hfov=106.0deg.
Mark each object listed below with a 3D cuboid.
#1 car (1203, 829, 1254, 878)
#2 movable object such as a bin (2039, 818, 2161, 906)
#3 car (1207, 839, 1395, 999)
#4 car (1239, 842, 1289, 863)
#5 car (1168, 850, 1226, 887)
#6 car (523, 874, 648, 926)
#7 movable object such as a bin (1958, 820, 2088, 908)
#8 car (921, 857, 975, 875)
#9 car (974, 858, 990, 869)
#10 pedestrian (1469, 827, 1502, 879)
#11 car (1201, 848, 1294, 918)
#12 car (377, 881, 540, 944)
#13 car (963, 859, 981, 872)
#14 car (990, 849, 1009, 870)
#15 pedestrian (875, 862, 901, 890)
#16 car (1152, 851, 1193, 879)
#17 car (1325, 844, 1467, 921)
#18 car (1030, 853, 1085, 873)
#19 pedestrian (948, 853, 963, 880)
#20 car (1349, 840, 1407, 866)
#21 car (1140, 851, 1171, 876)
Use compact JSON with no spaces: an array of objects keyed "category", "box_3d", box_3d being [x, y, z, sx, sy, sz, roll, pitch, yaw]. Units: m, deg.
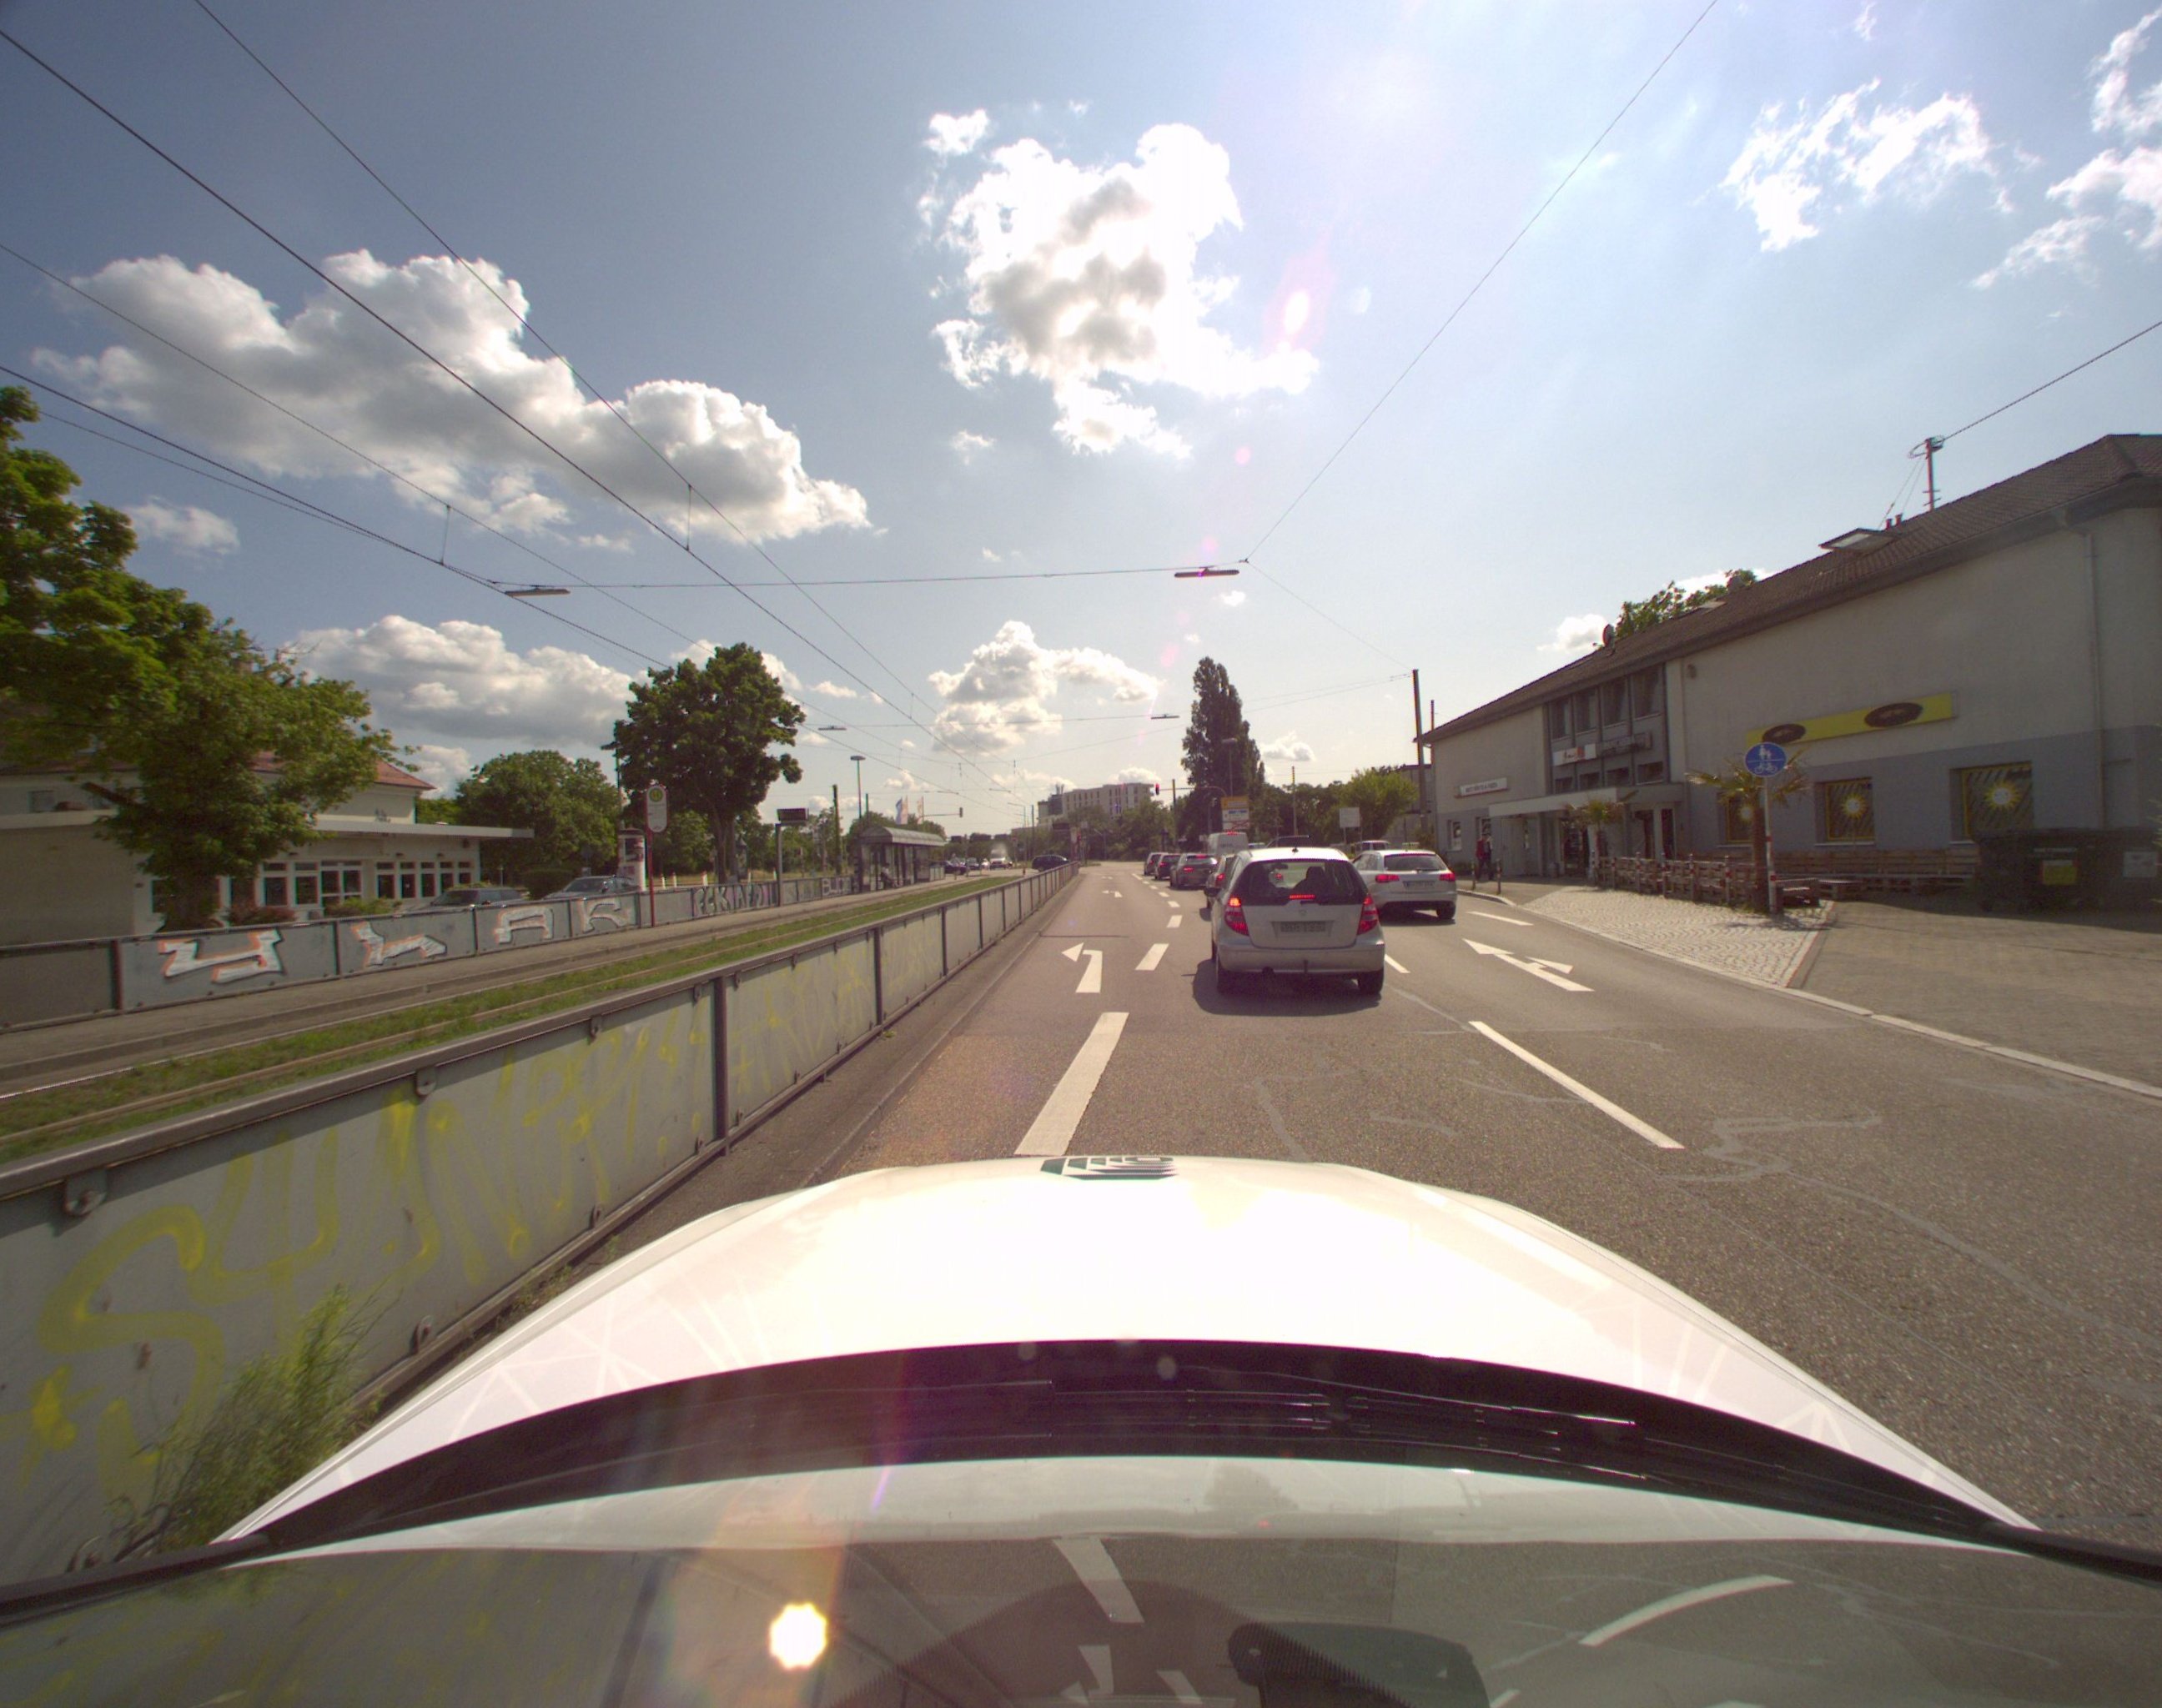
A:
[{"category":"car","box_3d":[8.454,-0.033,47.103,2.033,2.557,5.232,-2,0,1]},{"category":"movable object such as a bin","box_3d":[16.765,0.114,13.275,1.197,1.332,0.889,-3,2,10]},{"category":"car","box_3d":[2.528,0.657,10.276,1.777,1.577,4.104,-2,0,8]},{"category":"car","box_3d":[18.970,-0.167,84.510,4.659,1.936,2.001,-2,0,1]},{"category":"car","box_3d":[4.832,0.568,34.479,1.880,1.448,4.830,-1,0,1]},{"category":"car","box_3d":[-18.808,1.697,31.205,2.056,1.614,4.746,-3,0,-4]},{"category":"movable object such as a bin","box_3d":[15.387,0.142,13.334,1.077,1.332,0.888,-3,2,3]},{"category":"car","box_3d":[-12.026,1.108,73.941,4.442,1.514,2.001,-1,0,2]},{"category":"car","box_3d":[-13.533,1.278,111.229,1.797,1.541,4.161,-1,0,-2]},{"category":"pedestrian","box_3d":[14.508,-0.032,29.225,0.718,1.782,0.703,-5,0,4]},{"category":"car","box_3d":[4.029,0.637,20.387,1.730,1.492,4.636,-2,0,5]},{"category":"car","box_3d":[-18.891,1.722,24.969,1.779,1.584,3.934,-2,0,3]},{"category":"car","box_3d":[-13.665,1.410,102.606,1.892,1.541,3.726,-1,0,-2]},{"category":"car","box_3d":[-10.297,0.653,103.184,1.987,2.606,4.877,-1,0,-1]},{"category":"pedestrian","box_3d":[-9.683,1.089,40.815,1.055,1.376,0.861,-1,-1,1]},{"category":"car","box_3d":[4.970,0.586,44.774,1.863,1.419,4.101,-1,0,1]},{"category":"car","box_3d":[6.908,0.558,18.380,1.845,1.492,4.544,-2,0,6]},{"category":"car","box_3d":[-2.103,0.780,74.157,4.650,1.549,2.004,-3,0,6]},{"category":"pedestrian","box_3d":[-8.410,0.830,54.588,0.805,1.795,0.708,-2,0,-1]},{"category":"car","box_3d":[22.348,-0.090,61.222,4.108,1.731,1.872,-2,-2,-31]},{"category":"car","box_3d":[4.879,0.586,53.659,1.738,1.499,4.381,-2,0,1]}]
